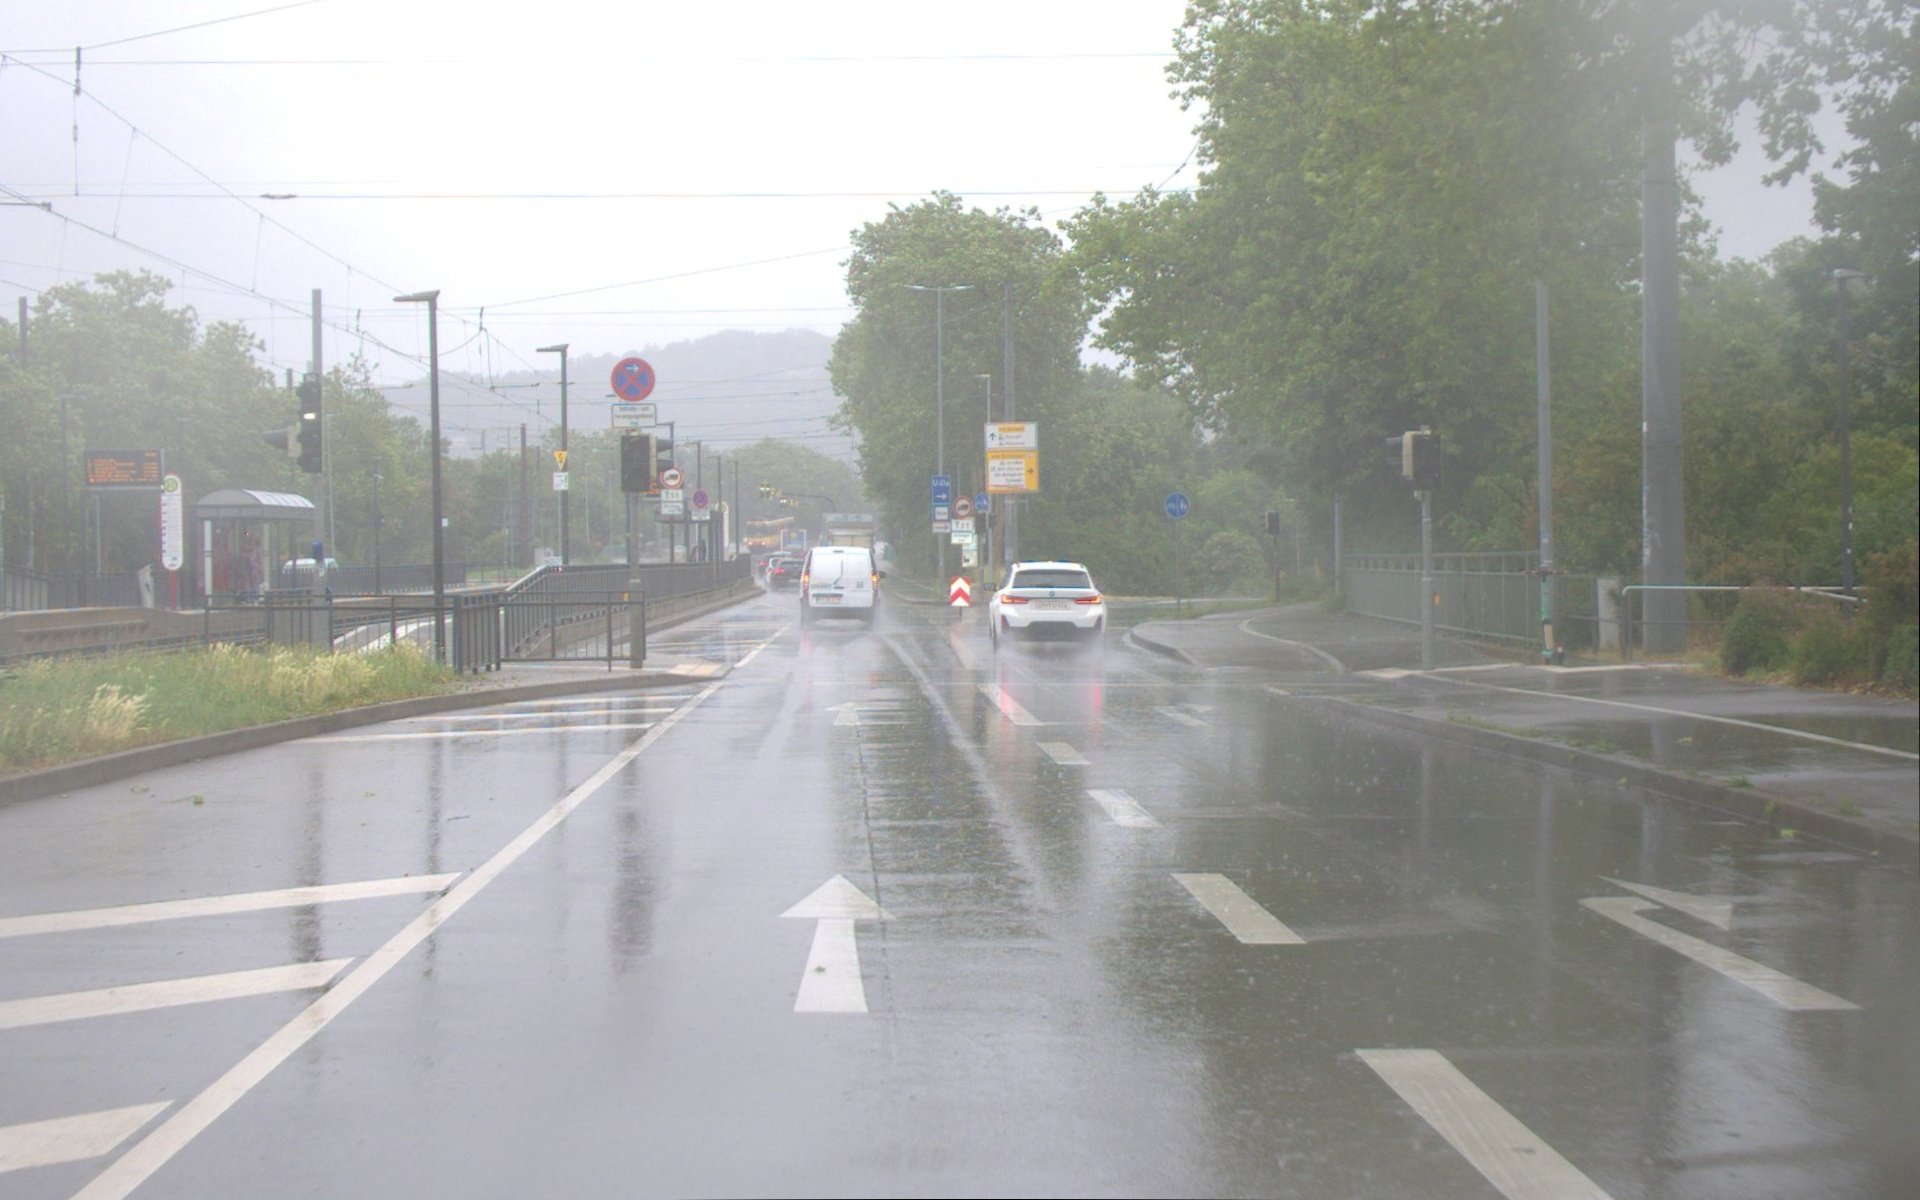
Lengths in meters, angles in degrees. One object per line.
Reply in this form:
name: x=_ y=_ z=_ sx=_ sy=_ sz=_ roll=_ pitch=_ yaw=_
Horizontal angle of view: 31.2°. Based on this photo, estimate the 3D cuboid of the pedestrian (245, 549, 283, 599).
pedestrian: x=-18.406 y=-0.689 z=90.884 sx=0.831 sy=1.312 sz=0.858 roll=1 pitch=1 yaw=-1

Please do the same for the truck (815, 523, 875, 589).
truck: x=-6.677 y=-2.513 z=198.546 sx=2.775 sy=3.691 sz=9.854 roll=0 pitch=0 yaw=-6

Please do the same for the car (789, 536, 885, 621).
car: x=-2.717 y=-0.507 z=76.998 sx=1.993 sy=1.842 sz=4.000 roll=0 pitch=1 yaw=0

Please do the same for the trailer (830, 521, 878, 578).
trailer: x=-5.130 y=-2.443 z=167.337 sx=2.166 sy=2.748 sz=5.677 roll=0 pitch=0 yaw=0

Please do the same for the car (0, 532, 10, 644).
car: x=-24.085 y=-0.263 z=80.692 sx=2.119 sy=2.703 sz=5.739 roll=0 pitch=1 yaw=-1

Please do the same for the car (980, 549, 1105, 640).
car: x=1.310 y=-0.119 z=56.100 sx=1.888 sy=1.426 sz=4.000 roll=0 pitch=1 yaw=-1

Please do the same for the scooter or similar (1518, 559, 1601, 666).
scooter or similar: x=7.355 y=0.148 z=42.242 sx=0.759 sy=1.288 sz=1.647 roll=0 pitch=0 yaw=1

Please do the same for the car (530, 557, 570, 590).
car: x=-24.606 y=-1.591 z=206.516 sx=1.993 sy=2.007 sz=4.000 roll=0 pitch=0 yaw=-1
